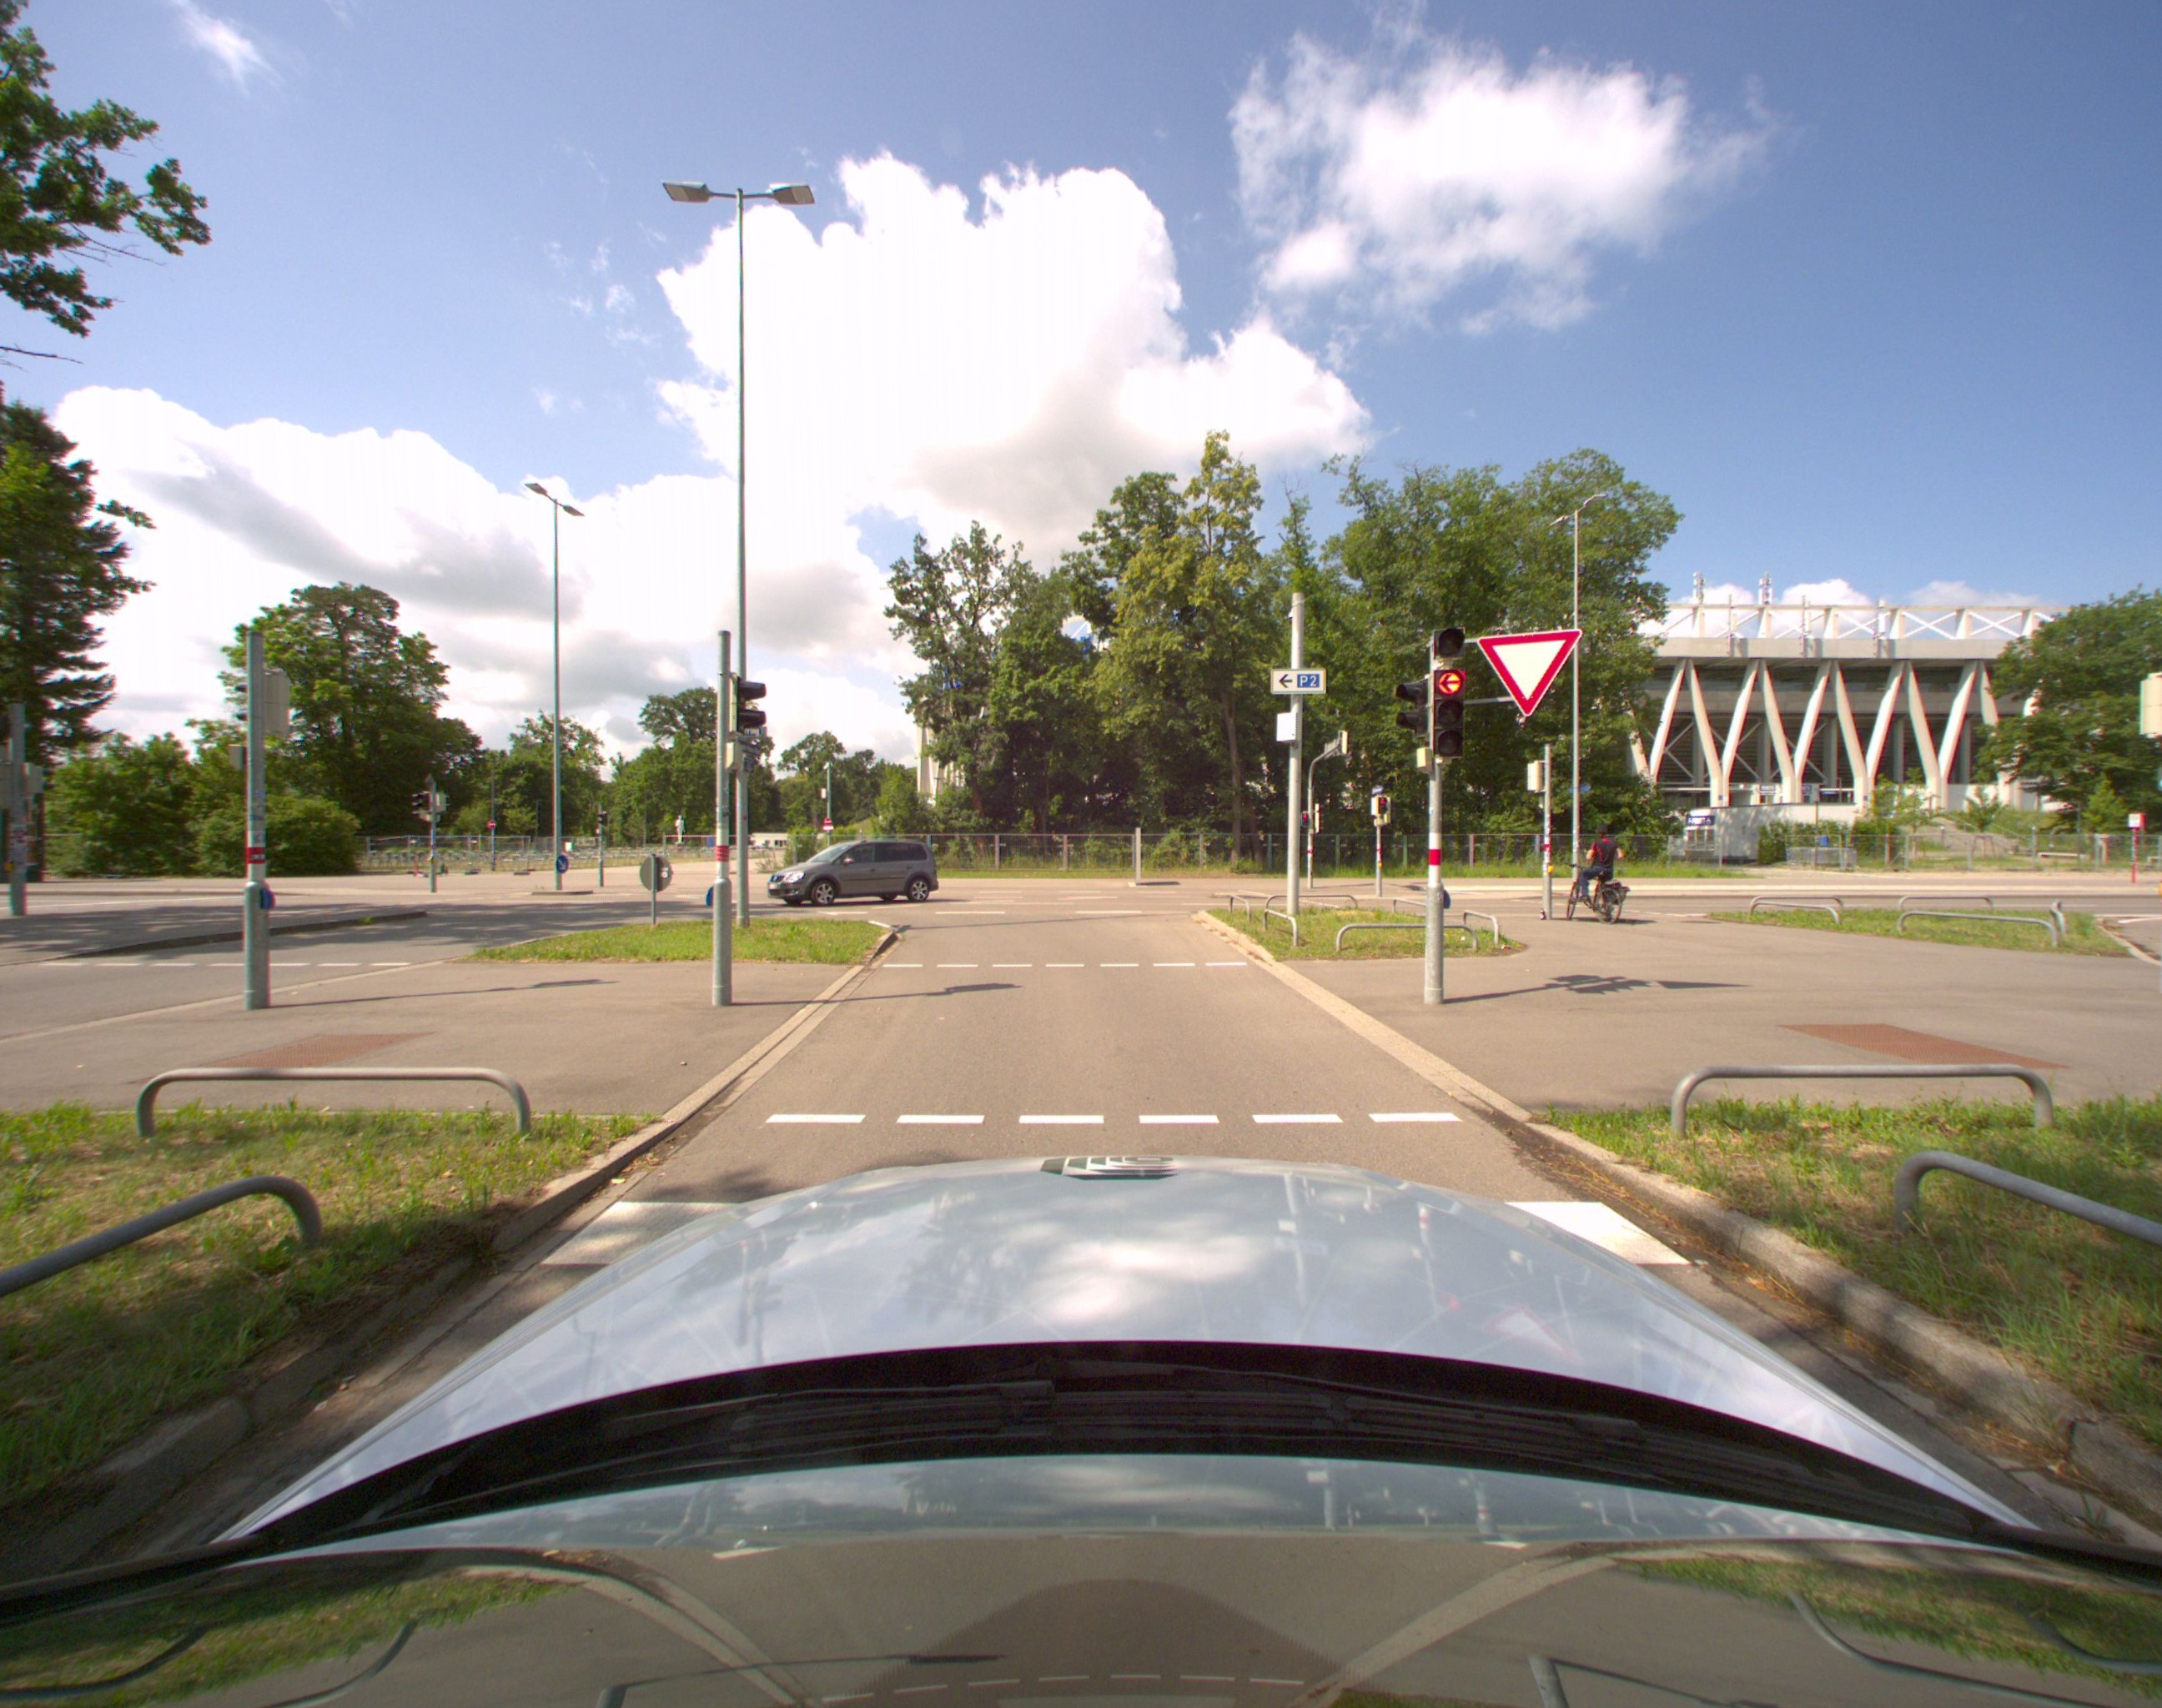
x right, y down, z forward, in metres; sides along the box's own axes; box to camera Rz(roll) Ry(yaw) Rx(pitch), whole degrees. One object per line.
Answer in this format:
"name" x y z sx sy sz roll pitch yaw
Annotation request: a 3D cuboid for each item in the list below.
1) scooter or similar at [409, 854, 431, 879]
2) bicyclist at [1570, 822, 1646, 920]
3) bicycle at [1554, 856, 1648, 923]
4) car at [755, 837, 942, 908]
"scooter or similar" -32.280 0.599 39.792 1.295 1.200 0.410 0 1 31
"bicyclist" 9.922 0.316 15.373 0.879 1.798 0.981 -1 -1 10
"bicycle" 9.956 0.641 15.672 0.875 1.206 1.903 -1 -1 11
"car" -5.909 0.409 21.048 4.323 1.629 1.745 -1 1 -43
